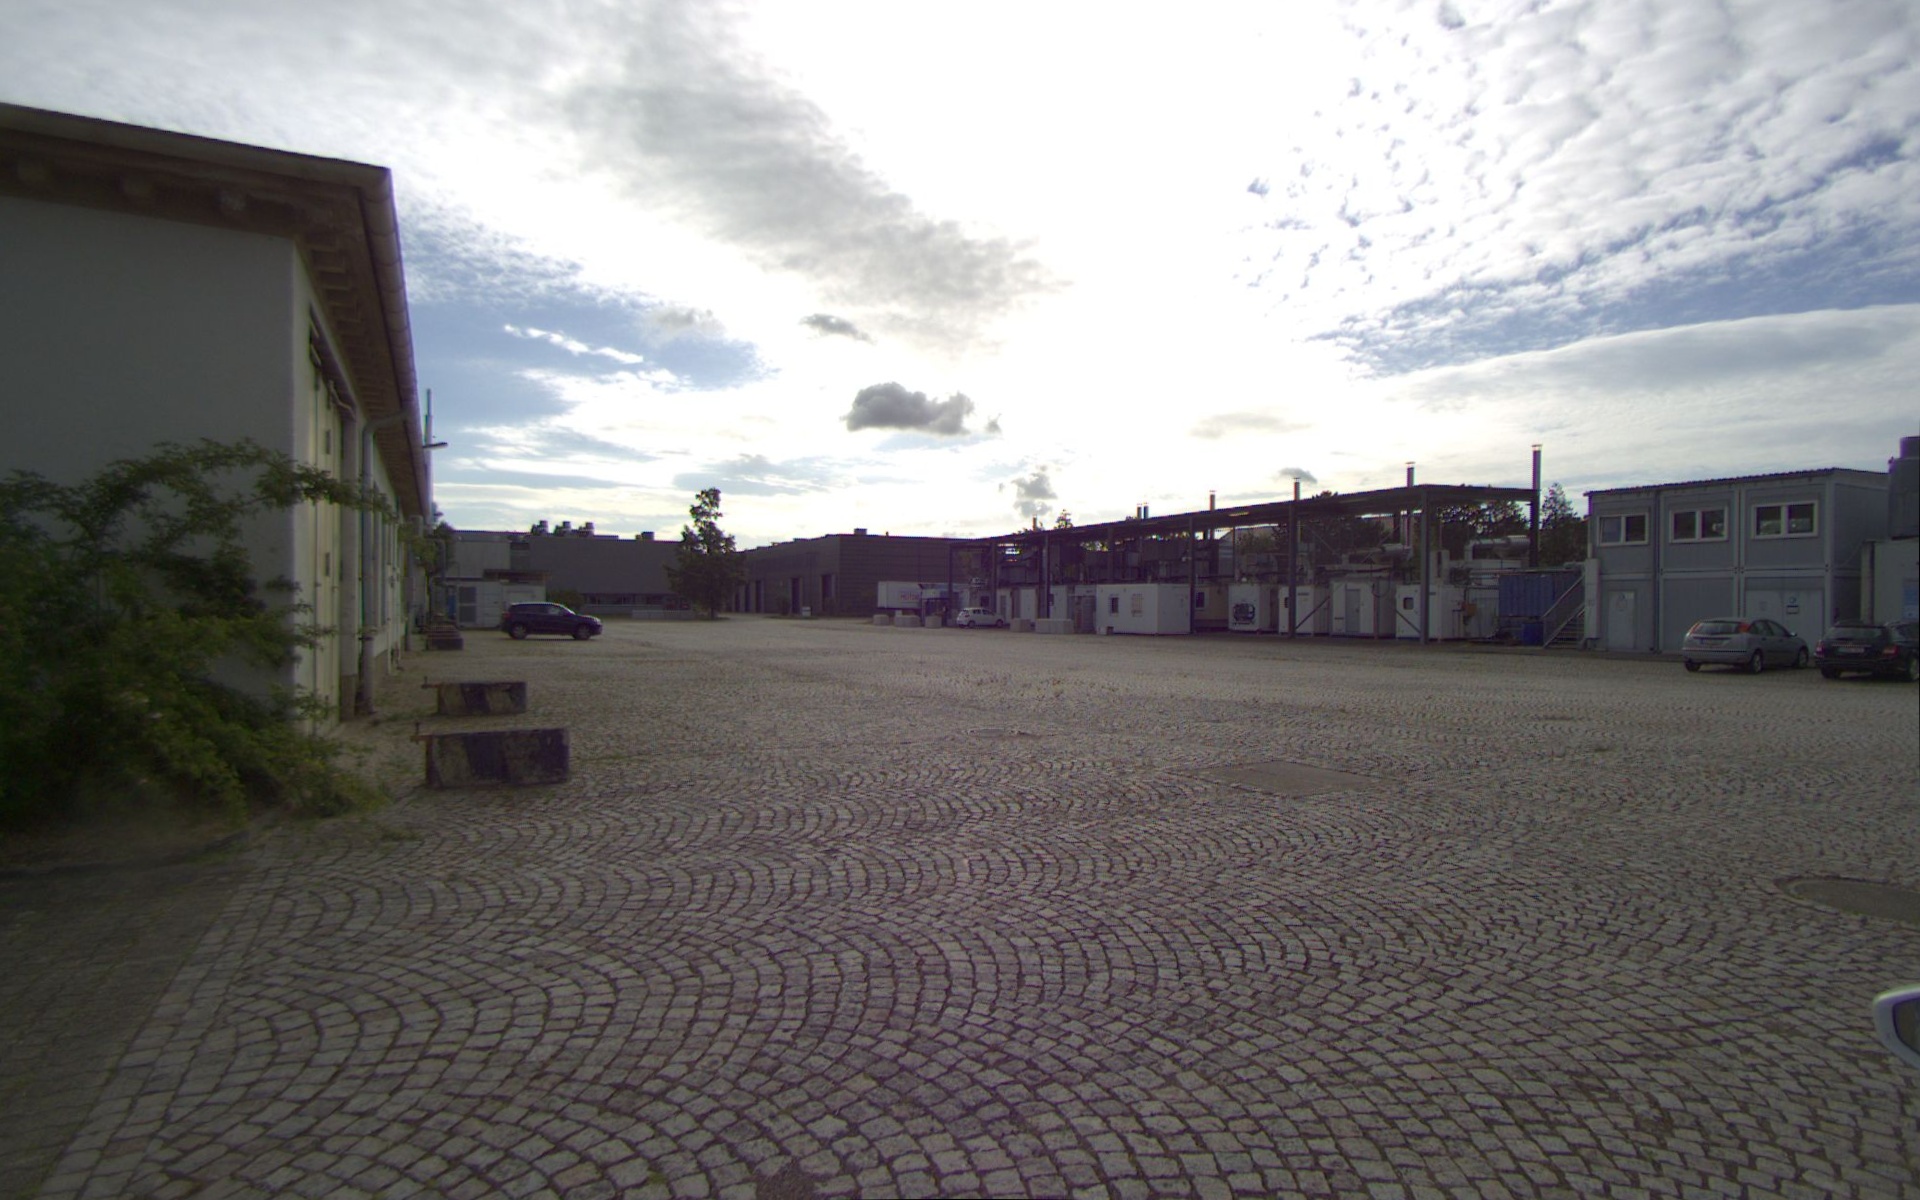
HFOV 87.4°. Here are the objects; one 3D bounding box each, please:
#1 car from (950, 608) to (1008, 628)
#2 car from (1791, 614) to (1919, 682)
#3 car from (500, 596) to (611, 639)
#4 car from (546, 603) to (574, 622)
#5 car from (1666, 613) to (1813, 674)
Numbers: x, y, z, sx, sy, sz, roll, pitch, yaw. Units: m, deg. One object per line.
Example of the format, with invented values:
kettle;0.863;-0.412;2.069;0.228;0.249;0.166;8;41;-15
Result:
car;1.441;1.349;76.060;3.952;1.512;1.985;1;-1;-29
car;23.229;1.141;25.292;4.472;1.472;2.028;-1;0;-28
car;-17.970;0.798;44.648;4.381;1.779;1.986;1;-3;-29
car;-39.996;1.250;100.384;2.127;1.835;3.971;1;0;-28
car;21.839;1.162;28.132;3.998;1.495;1.898;-1;0;-30
